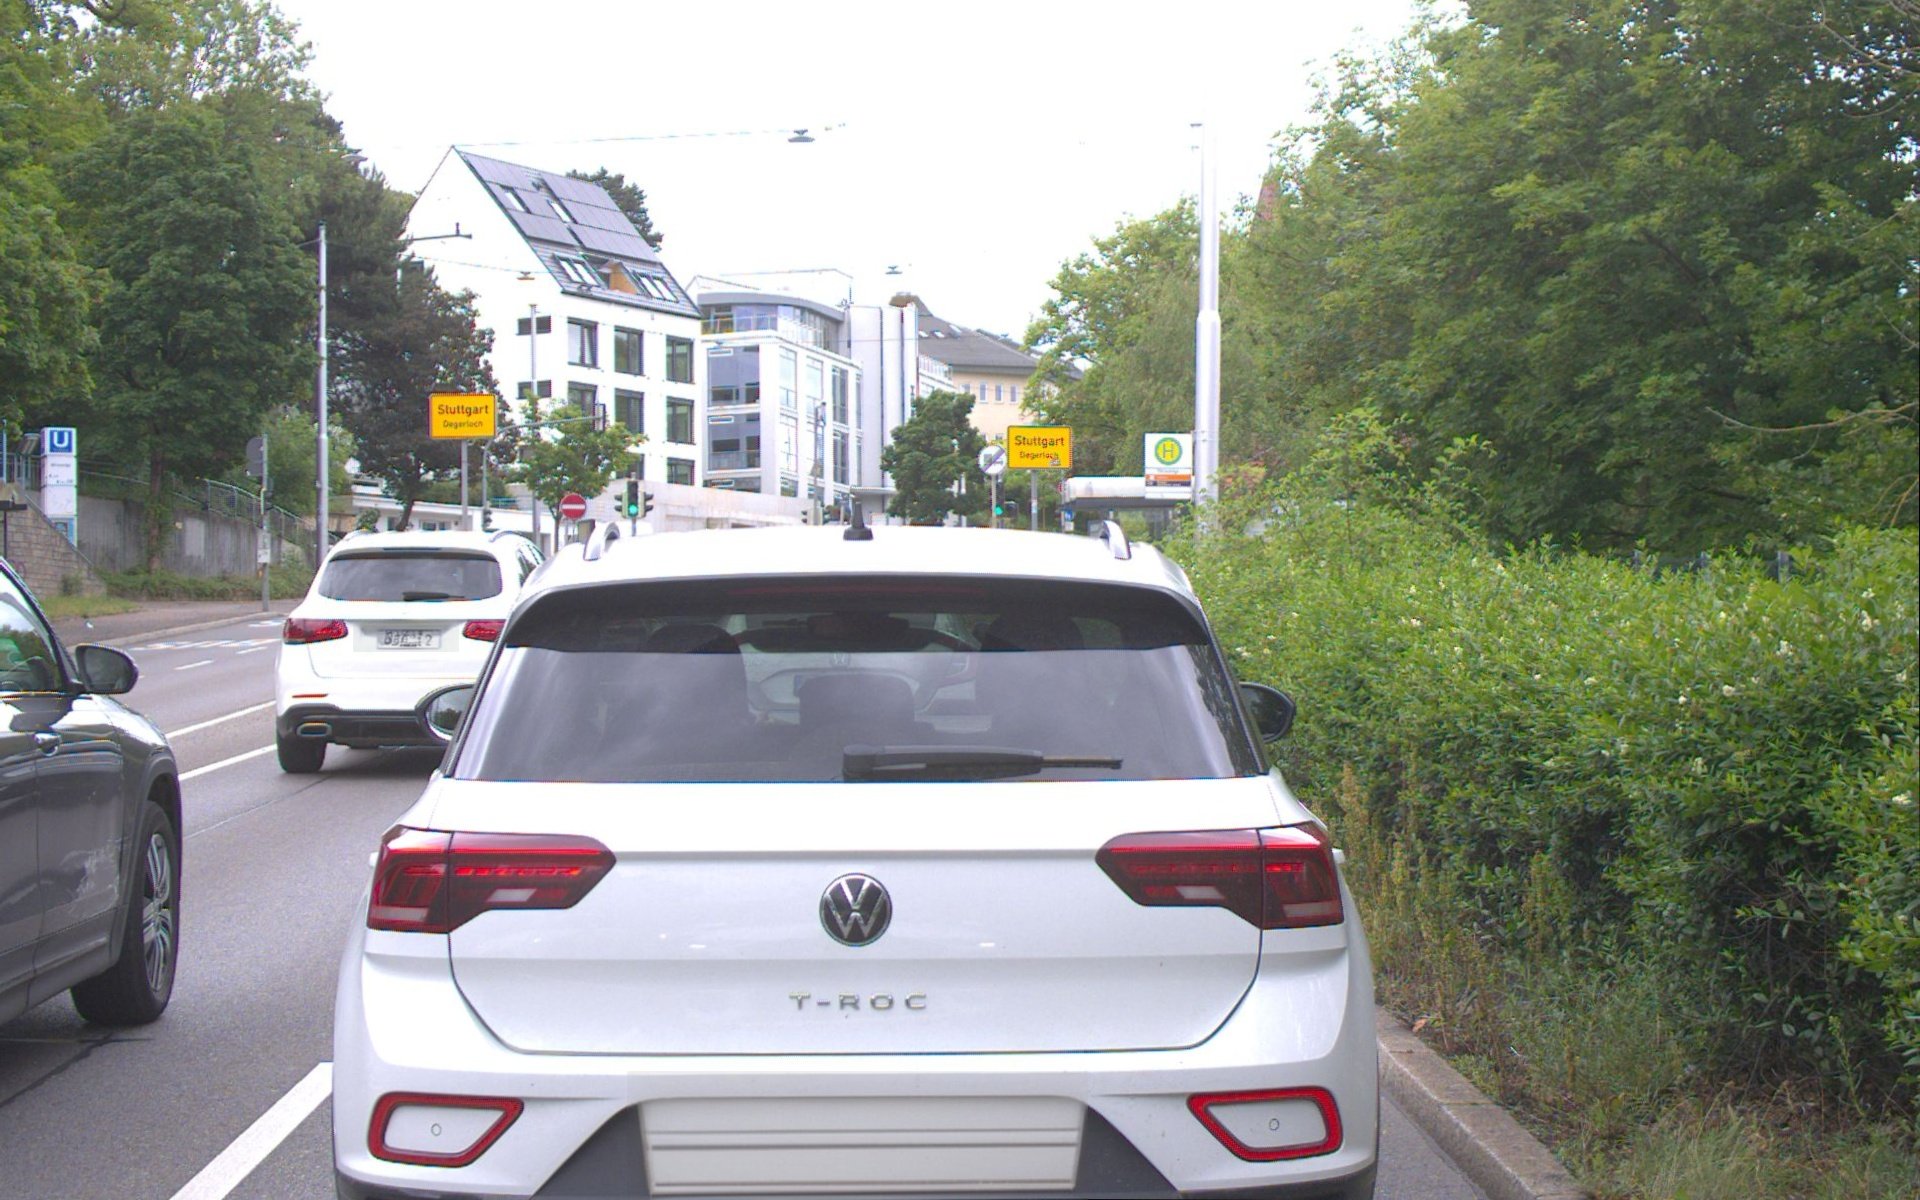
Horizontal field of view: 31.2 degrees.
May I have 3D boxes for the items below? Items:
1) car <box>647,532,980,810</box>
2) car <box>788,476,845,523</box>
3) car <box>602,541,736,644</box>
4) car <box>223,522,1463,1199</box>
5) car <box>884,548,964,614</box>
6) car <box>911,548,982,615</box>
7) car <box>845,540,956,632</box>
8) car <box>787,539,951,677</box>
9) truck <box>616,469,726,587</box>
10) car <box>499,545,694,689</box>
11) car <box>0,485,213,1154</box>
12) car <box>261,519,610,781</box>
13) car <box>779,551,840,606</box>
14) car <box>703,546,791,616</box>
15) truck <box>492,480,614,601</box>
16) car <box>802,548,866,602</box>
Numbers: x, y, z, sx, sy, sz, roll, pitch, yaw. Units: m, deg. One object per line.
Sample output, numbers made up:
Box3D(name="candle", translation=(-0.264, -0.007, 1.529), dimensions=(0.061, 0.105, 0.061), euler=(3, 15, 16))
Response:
Box3D(name="car", translation=(-0.868, 0.363, 21.190), dimensions=(1.829, 1.520, 4.000), euler=(-1, 1, -1))
Box3D(name="car", translation=(-4.838, -3.379, 116.206), dimensions=(1.829, 1.520, 4.000), euler=(-1, 1, -1))
Box3D(name="car", translation=(-4.483, -0.144, 53.430), dimensions=(1.829, 1.520, 4.000), euler=(-1, 1, -1))
Box3D(name="car", translation=(-0.218, 0.618, 7.092), dimensions=(1.829, 1.520, 4.000), euler=(0, 1, -1))
Box3D(name="car", translation=(-0.889, -0.483, 82.649), dimensions=(1.829, 1.520, 4.000), euler=(-1, 1, -1))
Box3D(name="car", translation=(-0.425, -0.594, 104.874), dimensions=(1.993, 1.963, 4.001), euler=(-1, 1, -2))
Box3D(name="car", translation=(-1.053, -0.271, 59.823), dimensions=(1.829, 1.520, 4.000), euler=(-1, 1, -1))
Box3D(name="car", translation=(-1.078, 0.059, 40.848), dimensions=(1.829, 1.520, 4.000), euler=(-1, 1, -1))
Box3D(name="truck", translation=(-7.092, -1.769, 84.715), dimensions=(2.362, 2.772, 4.478), euler=(-2, 1, -1))
Box3D(name="car", translation=(-3.998, 0.144, 38.381), dimensions=(1.829, 1.492, 4.000), euler=(-1, 1, -1))
Box3D(name="car", translation=(-3.314, 0.528, 9.168), dimensions=(1.849, 1.645, 4.358), euler=(0, 1, -2))
Box3D(name="car", translation=(-3.572, 0.291, 24.083), dimensions=(1.918, 1.664, 4.000), euler=(0, 1, -1))
Box3D(name="car", translation=(-4.752, -0.691, 109.076), dimensions=(1.815, 1.651, 3.929), euler=(-2, 1, -1))
Box3D(name="car", translation=(-4.816, -0.444, 78.292), dimensions=(1.829, 1.520, 4.000), euler=(-1, 1, -1))
Box3D(name="truck", translation=(-9.511, -1.391, 80.757), dimensions=(2.362, 2.697, 4.478), euler=(-2, 1, -1))
Box3D(name="car", translation=(-3.729, -0.756, 102.110), dimensions=(1.829, 1.520, 4.000), euler=(-1, 1, -1))
